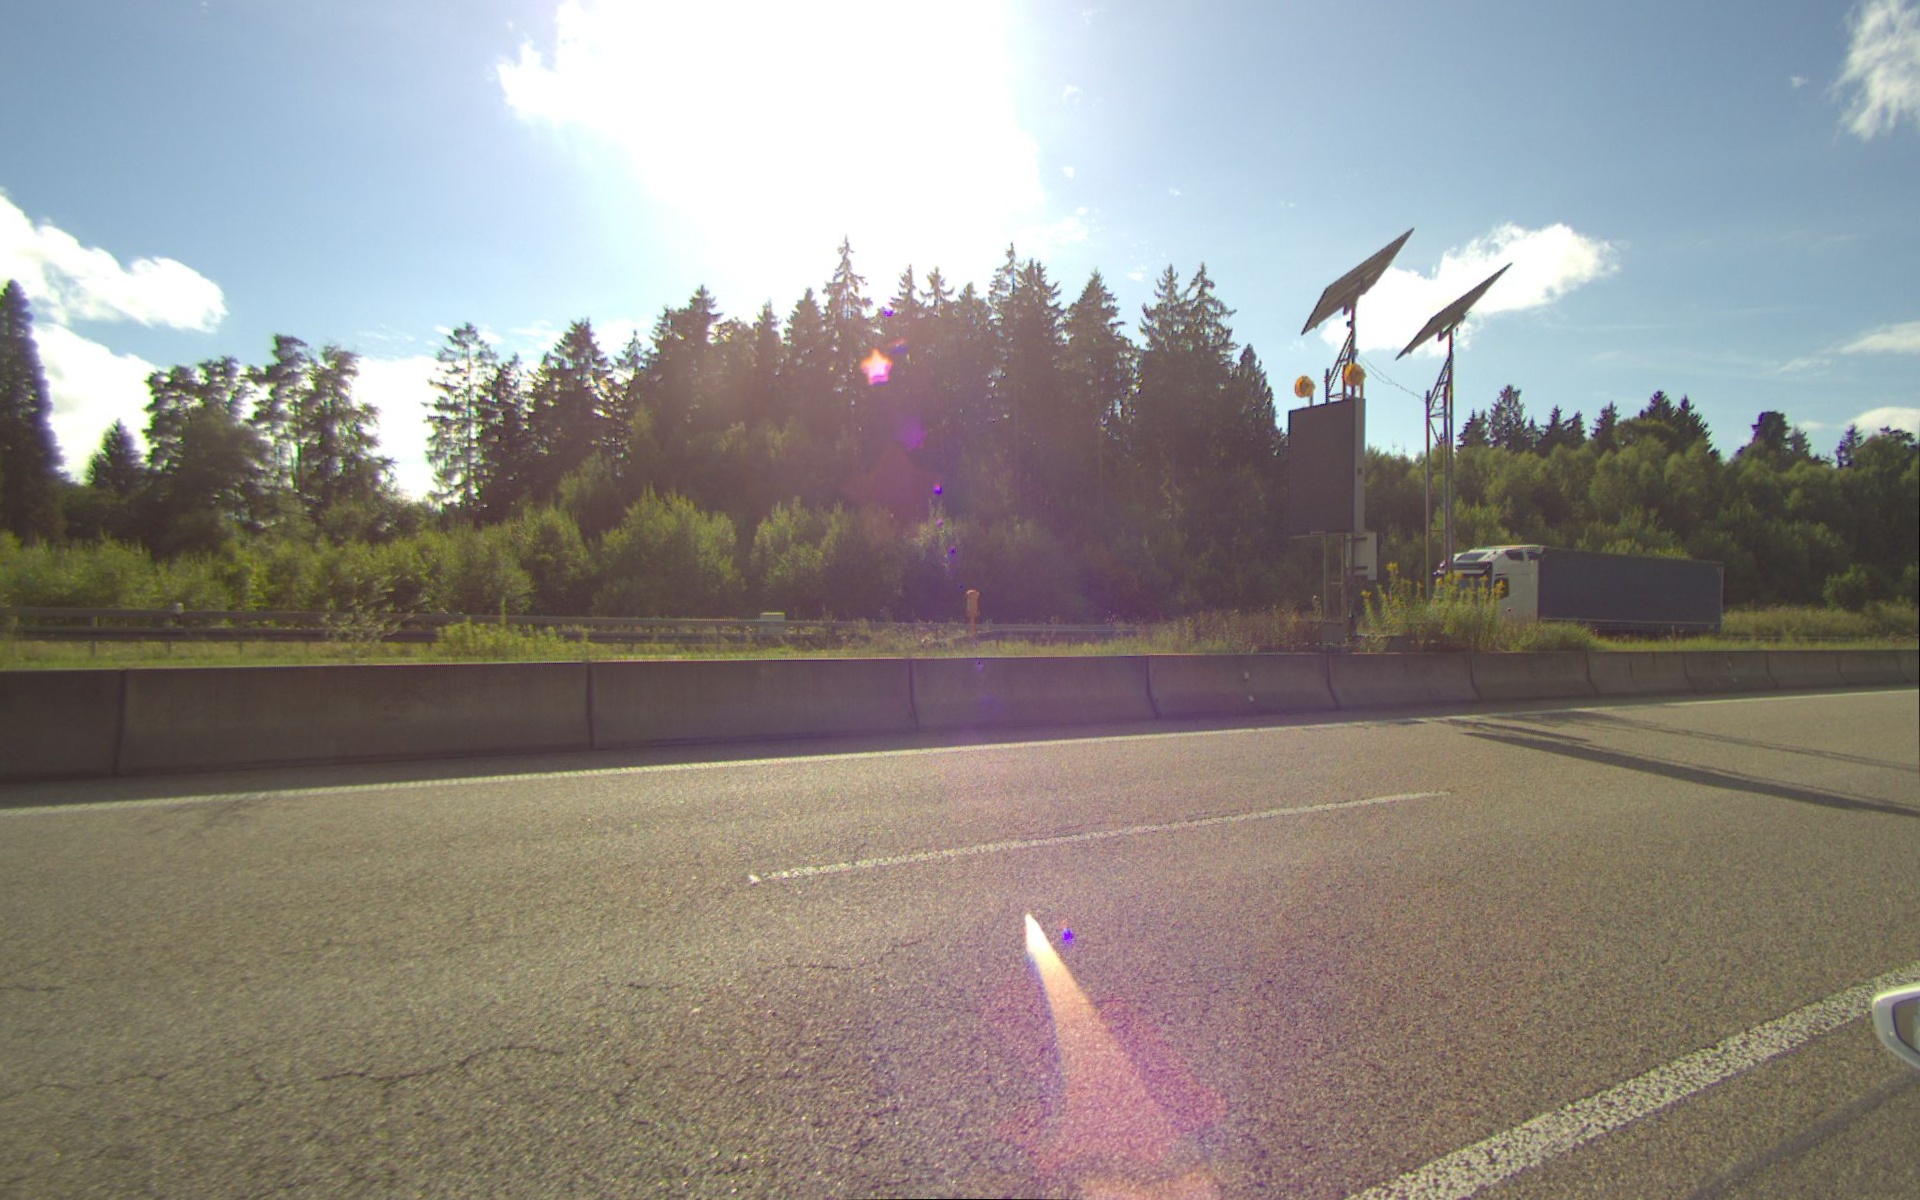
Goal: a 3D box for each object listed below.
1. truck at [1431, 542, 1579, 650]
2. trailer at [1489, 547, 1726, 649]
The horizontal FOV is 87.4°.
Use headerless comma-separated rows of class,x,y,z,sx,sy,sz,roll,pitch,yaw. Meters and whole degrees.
truck,20.476,-0.091,37.716,5.464,3.778,2.269,1,0,-29
trailer,26.877,0.058,41.289,13.113,3.778,2.269,1,0,-29
